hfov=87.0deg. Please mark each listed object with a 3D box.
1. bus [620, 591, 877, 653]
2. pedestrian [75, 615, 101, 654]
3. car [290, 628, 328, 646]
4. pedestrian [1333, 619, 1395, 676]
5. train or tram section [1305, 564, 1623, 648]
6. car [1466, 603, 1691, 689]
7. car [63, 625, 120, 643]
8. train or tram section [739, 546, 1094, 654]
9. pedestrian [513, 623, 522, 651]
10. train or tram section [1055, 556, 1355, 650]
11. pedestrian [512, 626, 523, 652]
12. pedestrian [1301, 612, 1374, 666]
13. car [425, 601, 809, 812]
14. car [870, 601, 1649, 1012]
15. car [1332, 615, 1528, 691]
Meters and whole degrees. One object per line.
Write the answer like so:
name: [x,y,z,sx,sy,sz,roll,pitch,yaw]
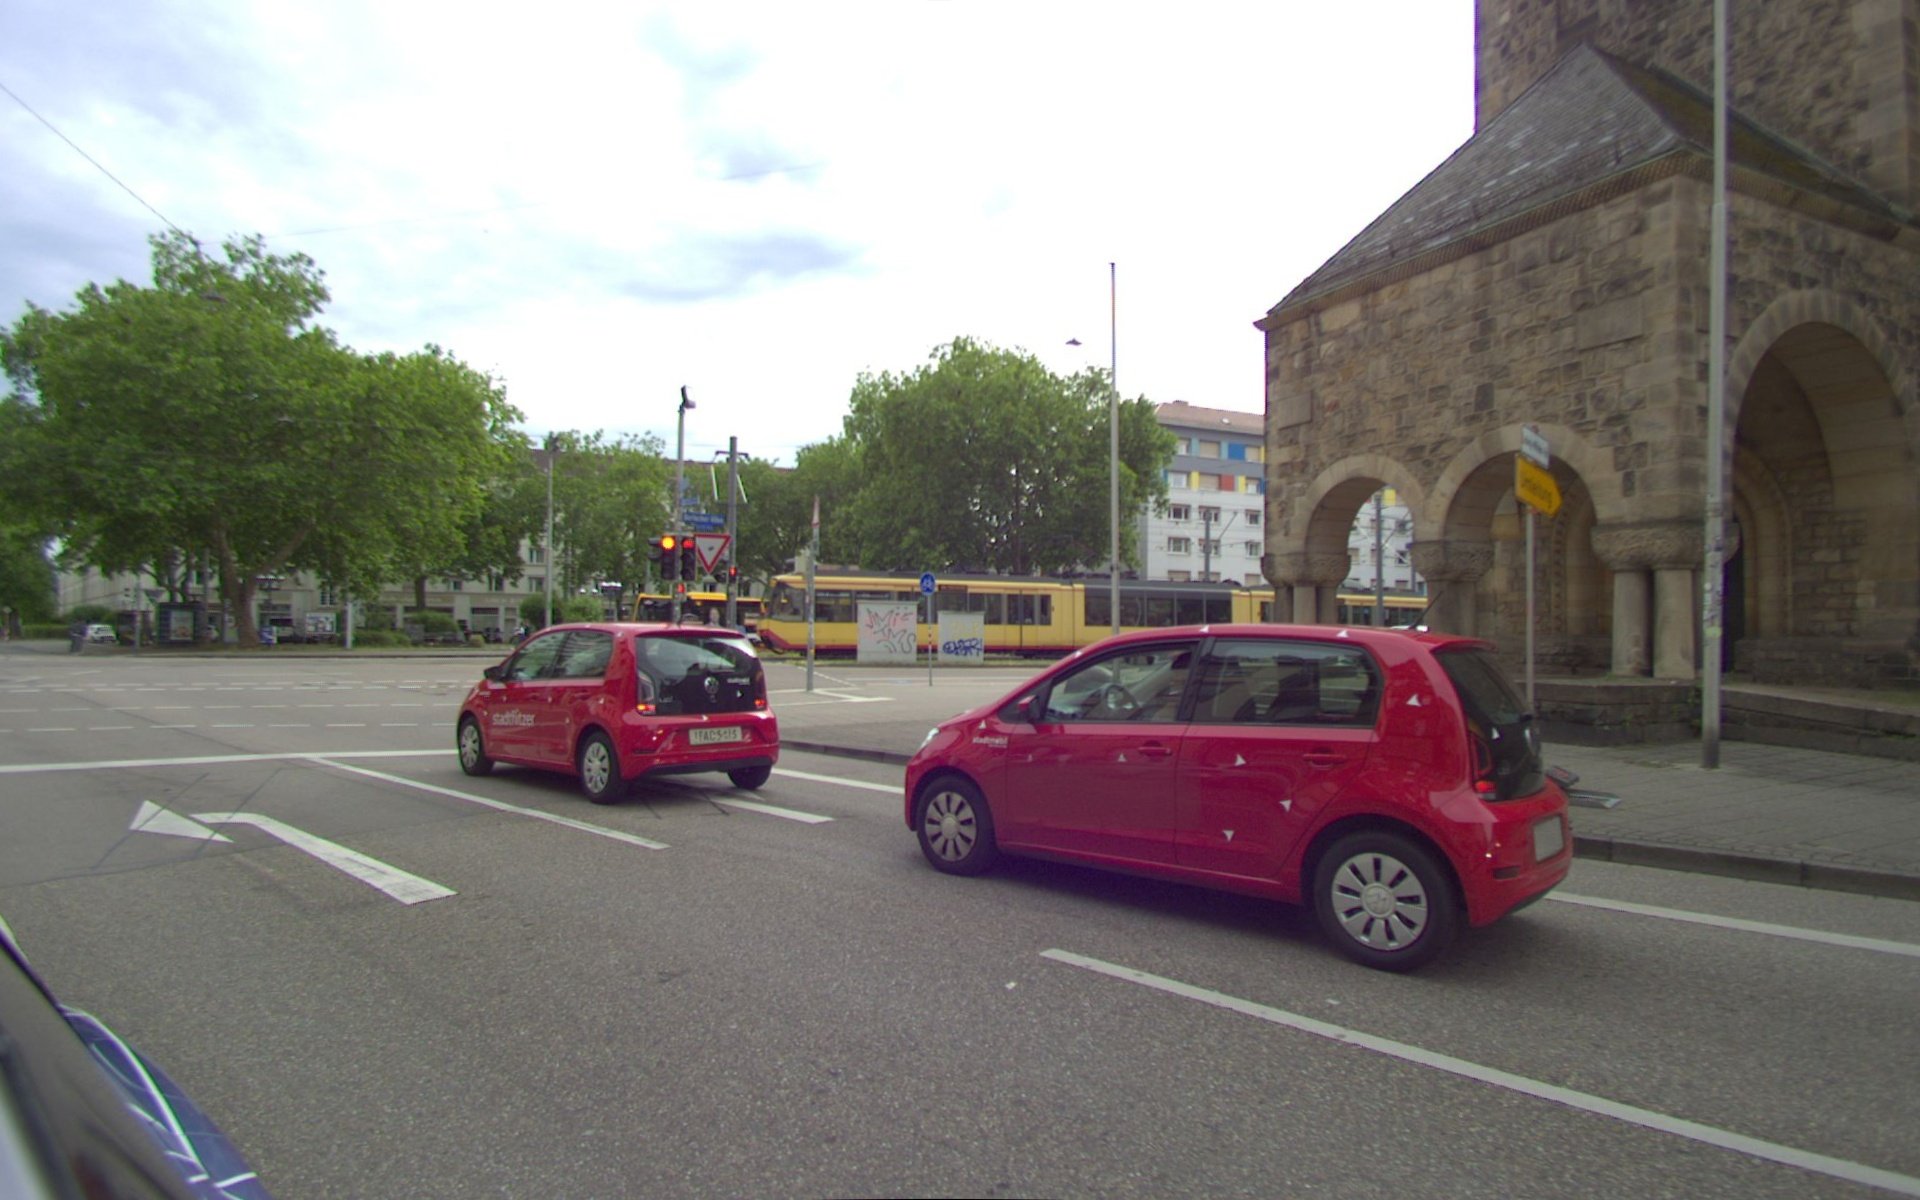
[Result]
bus: [-10.504,1.069,50.792,12.164,2.878,3.303,1,0,-23]
pedestrian: [-43.534,1.700,50.551,0.681,1.900,0.687,1,0,8]
car: [-52.894,2.948,82.156,1.969,1.400,4.840,1,-2,-40]
pedestrian: [8.984,1.045,22.524,1.045,1.238,0.740,1,0,-9]
train or tram section: [27.969,0.403,55.528,19.601,4.124,3.640,1,0,-23]
car: [15.087,1.045,25.019,1.634,1.895,4.641,1,0,-24]
car: [-73.235,2.841,85.348,3.964,1.497,1.793,0,-1,16]
train or tram section: [-1.664,0.094,43.255,14.777,4.124,3.667,1,0,-23]
pedestrian: [-23.227,1.950,53.119,0.367,1.490,0.363,1,-2,-30]
train or tram section: [12.035,0.232,48.964,14.777,4.124,3.593,1,0,-23]
pedestrian: [-23.026,2.020,52.713,0.462,1.336,0.458,1,-2,-30]
pedestrian: [8.664,0.877,23.231,1.467,1.200,0.741,1,0,-24]
car: [-3.288,0.880,9.346,3.892,1.540,1.631,-2,-5,42]
car: [1.397,0.790,5.471,3.716,1.468,1.585,0,-3,41]
car: [11.409,1.218,24.911,1.634,1.648,4.377,1,0,-24]
